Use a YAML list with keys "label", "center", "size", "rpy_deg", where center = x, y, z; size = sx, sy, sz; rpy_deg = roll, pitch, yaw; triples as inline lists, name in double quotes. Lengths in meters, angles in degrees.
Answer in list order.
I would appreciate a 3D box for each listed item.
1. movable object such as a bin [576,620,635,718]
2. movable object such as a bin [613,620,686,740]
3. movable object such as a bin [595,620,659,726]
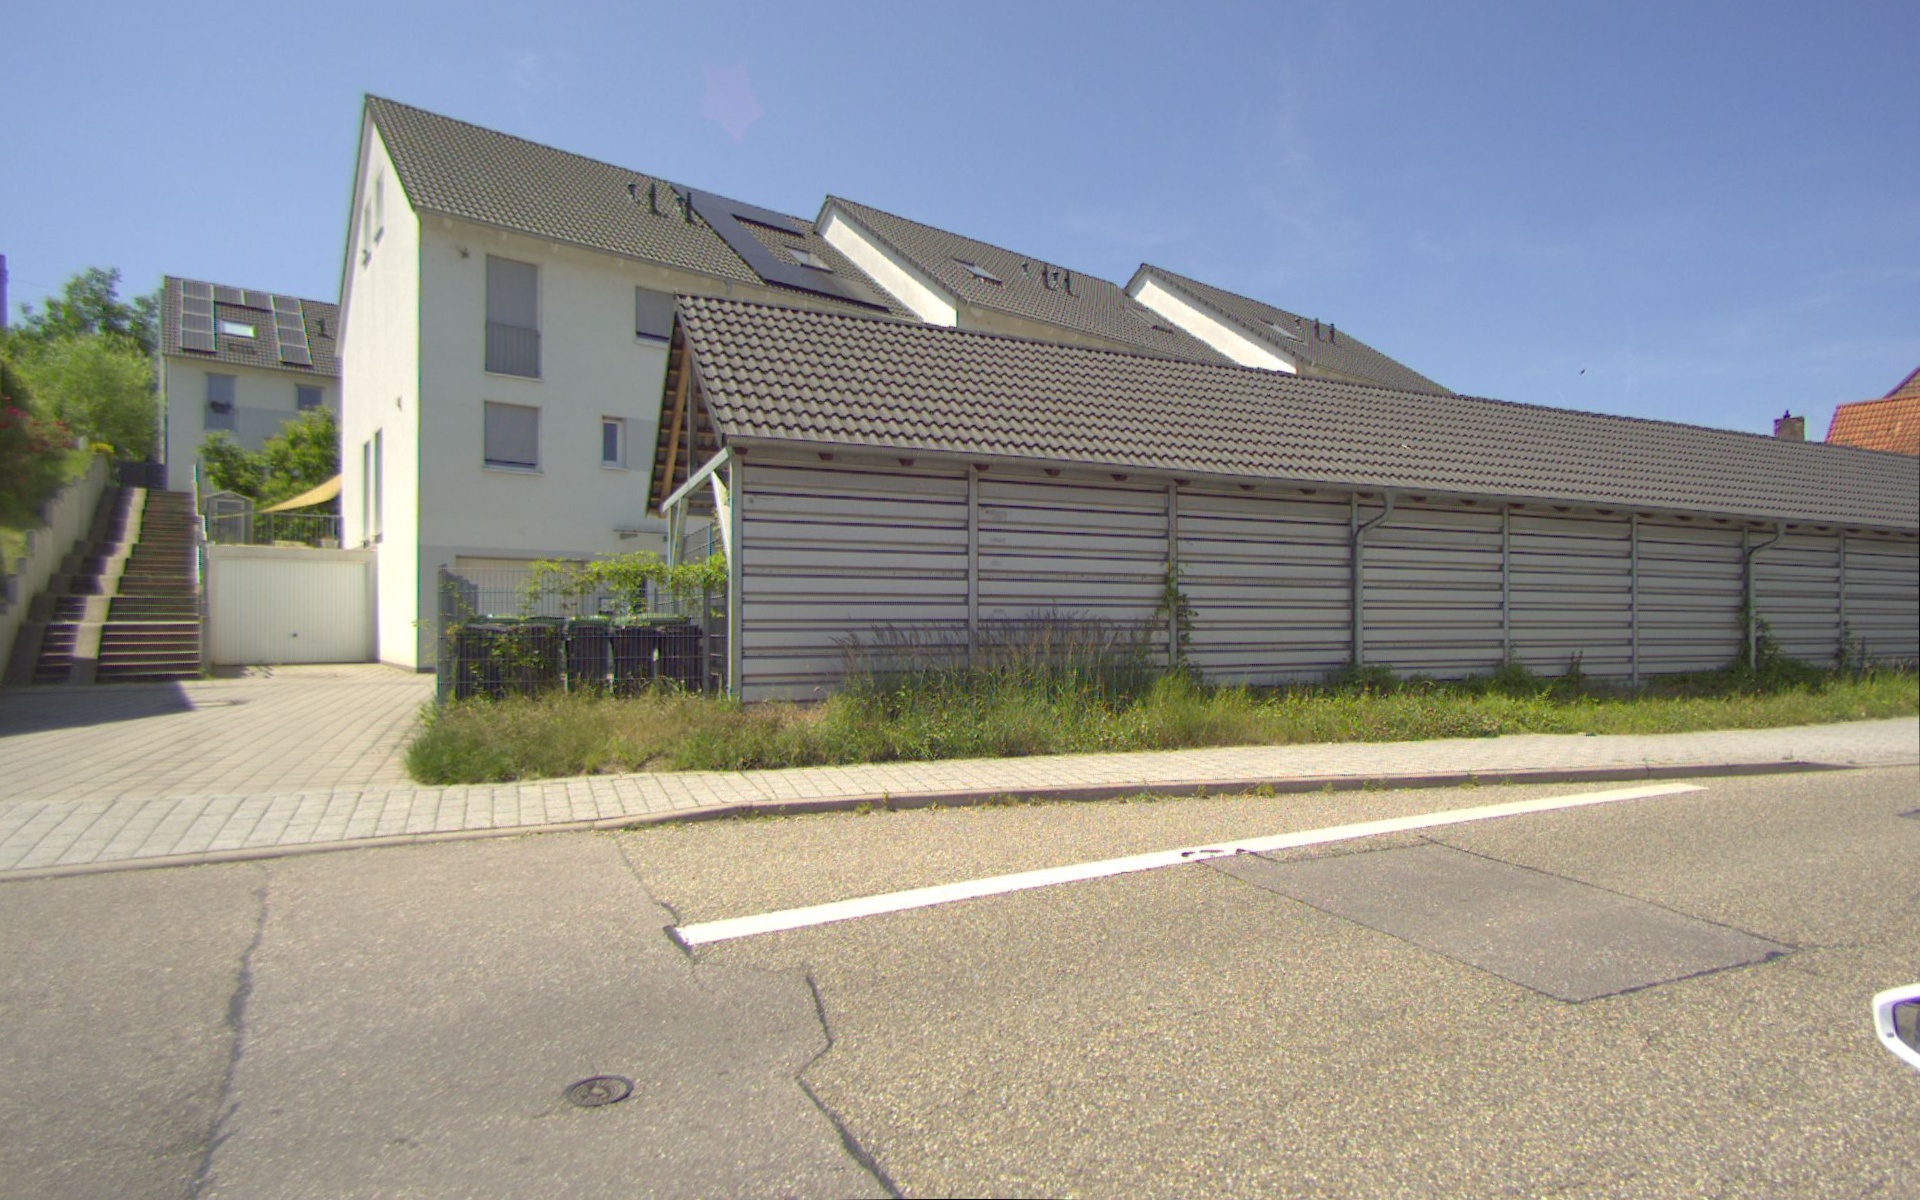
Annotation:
- label: "movable object such as a bin"
  center: [-4.854, 0.930, 13.736]
  size: [0.685, 1.295, 0.638]
  rpy_deg: [1, -1, -26]
- label: "movable object such as a bin"
  center: [-3.510, 0.880, 11.333]
  size: [0.685, 1.295, 0.638]
  rpy_deg: [1, -1, -26]
- label: "movable object such as a bin"
  center: [-4.262, 0.913, 12.835]
  size: [0.685, 1.295, 0.638]
  rpy_deg: [1, -1, -26]
